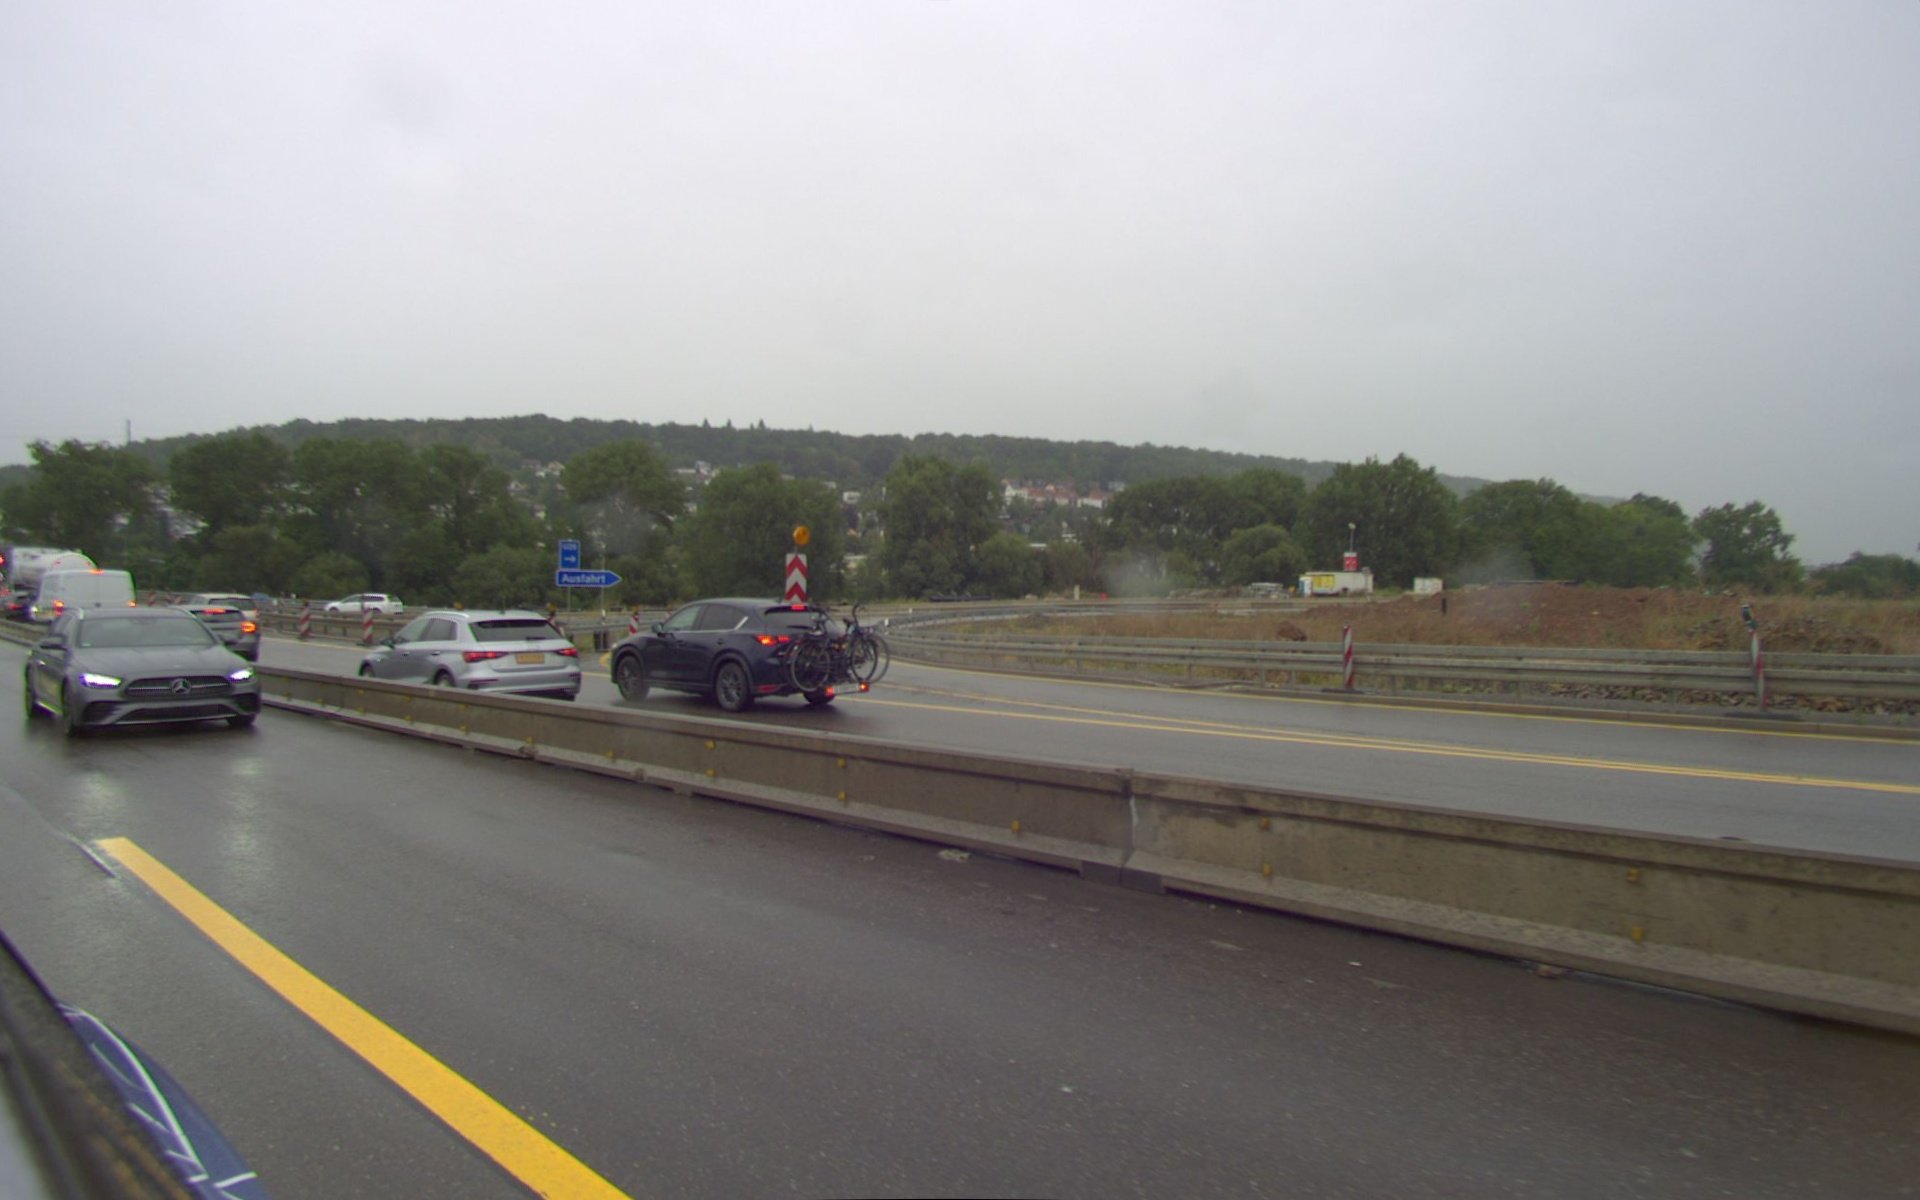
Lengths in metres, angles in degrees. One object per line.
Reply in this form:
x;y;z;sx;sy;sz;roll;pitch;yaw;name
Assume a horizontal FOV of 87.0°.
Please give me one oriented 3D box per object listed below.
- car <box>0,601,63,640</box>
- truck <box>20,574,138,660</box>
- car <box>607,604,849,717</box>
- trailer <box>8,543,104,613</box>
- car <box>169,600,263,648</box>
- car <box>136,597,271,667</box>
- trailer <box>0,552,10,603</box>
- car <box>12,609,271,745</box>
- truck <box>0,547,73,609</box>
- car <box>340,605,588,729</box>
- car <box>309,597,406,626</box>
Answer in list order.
-38.791;0.802;41.979;4.676;1.516;1.754;1;0;41;car
-28.961;0.466;33.192;5.958;2.595;2.057;1;1;41;truck
-3.666;0.842;15.685;3.873;1.535;1.708;0;-1;40;car
-52.717;-1.266;58.858;11.996;3.705;2.593;1;1;40;trailer
-25.779;0.783;35.027;3.997;1.558;1.769;0;0;41;car
-18.551;0.712;24.739;4.309;1.550;1.768;0;0;41;car
-82.833;-1.961;85.162;15.352;4.072;2.721;1;1;41;trailer
-10.705;0.846;13.115;4.482;1.449;1.926;0;0;42;car
-57.480;-1.346;62.936;6.591;3.705;2.594;1;1;40;truck
-7.275;0.857;14.648;4.342;1.535;1.659;0;-1;41;car
-37.910;0.729;63.729;4.972;1.713;1.851;1;1;-2;car
